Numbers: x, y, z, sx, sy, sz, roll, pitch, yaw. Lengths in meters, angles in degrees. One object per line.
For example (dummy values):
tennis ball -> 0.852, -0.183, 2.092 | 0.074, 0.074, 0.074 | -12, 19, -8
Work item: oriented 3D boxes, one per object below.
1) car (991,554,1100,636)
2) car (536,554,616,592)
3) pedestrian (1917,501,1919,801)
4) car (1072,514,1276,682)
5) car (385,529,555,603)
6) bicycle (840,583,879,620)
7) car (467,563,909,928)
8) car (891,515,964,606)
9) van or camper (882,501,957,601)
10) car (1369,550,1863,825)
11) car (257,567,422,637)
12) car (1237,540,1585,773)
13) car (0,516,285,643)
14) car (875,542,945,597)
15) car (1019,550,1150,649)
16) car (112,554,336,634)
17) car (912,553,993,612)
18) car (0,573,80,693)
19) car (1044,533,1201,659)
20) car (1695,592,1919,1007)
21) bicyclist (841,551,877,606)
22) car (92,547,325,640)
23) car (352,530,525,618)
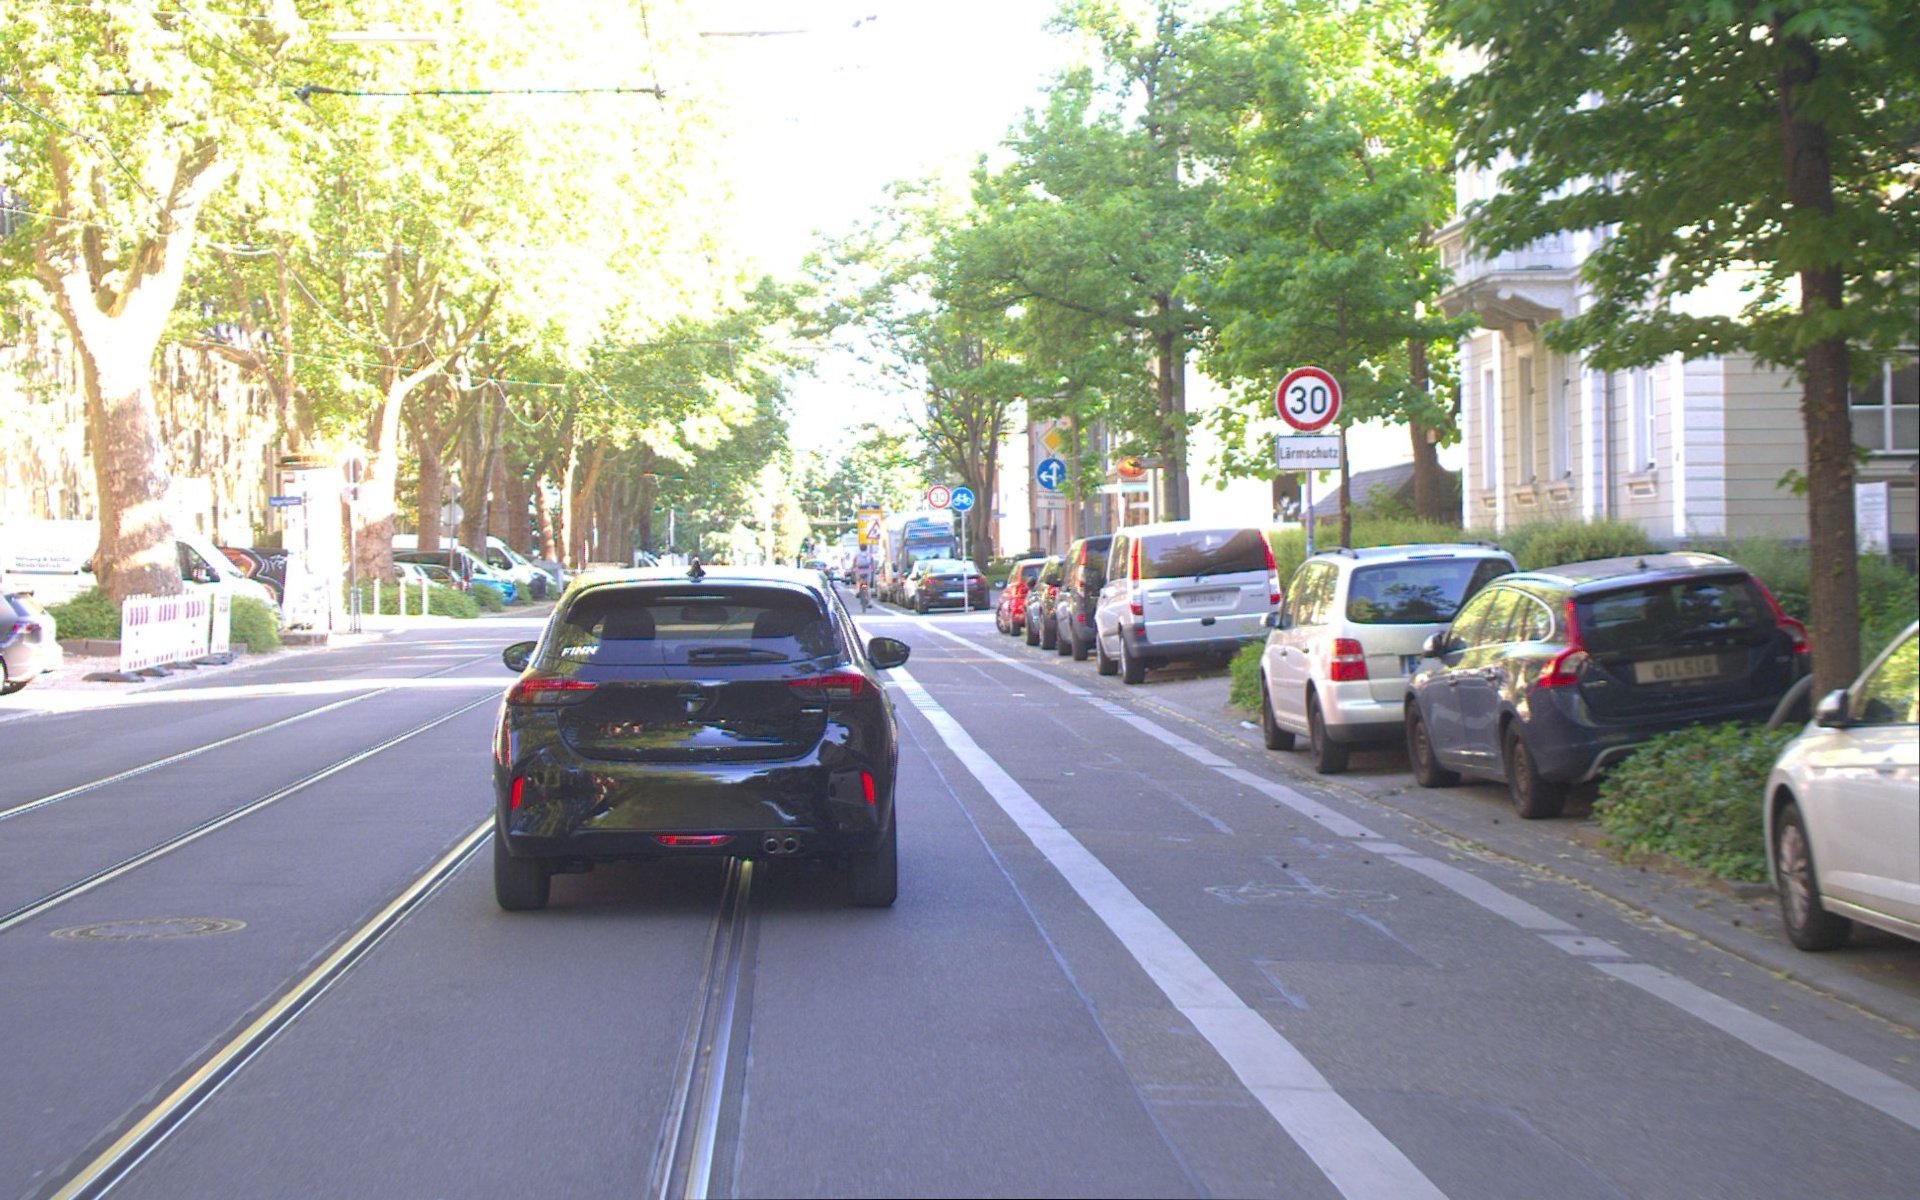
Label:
car -> 1.611, -0.112, 65.887 | 1.702, 1.418, 3.979 | -4, 1, -3
car -> -20.510, -1.421, 183.638 | 3.987, 2.007, 2.000 | 0, 0, 4
pedestrian -> 5.738, 0.289, 18.875 | 0.726, 1.687, 0.957 | 0, 0, 3
car -> 2.562, -0.050, 42.371 | 1.884, 1.845, 4.968 | -3, 1, -3
car -> -17.202, -1.190, 120.818 | 5.639, 2.584, 2.196 | 0, 0, 1
bicycle -> -2.755, 0.033, 93.749 | 0.967, 0.995, 2.583 | 0, 1, -4
car -> -1.172, 0.564, 15.747 | 1.763, 1.455, 3.951 | 0, 1, -2
car -> -1.058, -1.289, 109.321 | 2.085, 2.762, 4.698 | -2, 1, -3
van or camper -> -1.396, -1.630, 115.876 | 2.254, 3.205, 5.531 | -2, 1, -3
car -> 4.021, 0.478, 21.904 | 1.884, 1.462, 4.594 | -3, 1, -4
car -> -16.922, 0.057, 93.865 | 4.298, 1.588, 1.783 | -4, 1, -10
car -> 3.395, 0.382, 26.686 | 1.884, 1.562, 4.242 | -3, 1, -3
car -> -14.891, -0.368, 62.359 | 5.032, 2.251, 2.086 | 0, 1, -6
car -> -1.822, -1.088, 123.070 | 2.254, 1.834, 5.531 | -2, 1, -3
car -> 2.040, -0.021, 57.321 | 1.711, 1.509, 4.037 | -3, 1, -4
car -> -15.143, -0.132, 70.871 | 4.298, 1.601, 1.926 | 0, 1, -5
car -> -0.232, -0.472, 91.875 | 1.884, 1.429, 4.531 | -3, 1, -3
car -> -13.183, 0.393, 42.891 | 3.986, 1.460, 1.854 | 0, 0, -3
car -> 2.378, -0.078, 51.365 | 1.885, 1.760, 4.678 | -1, 1, -3
car -> 4.192, 0.669, 12.591 | 1.884, 1.363, 4.107 | -3, 1, -3
bicyclist -> -2.755, -0.594, 93.712 | 0.958, 1.494, 1.094 | 0, 0, -4
car -> -14.866, -0.146, 68.231 | 4.298, 1.795, 1.926 | 0, 1, -5
car -> -16.366, -0.822, 108.127 | 5.036, 2.366, 2.081 | -4, 1, -2
